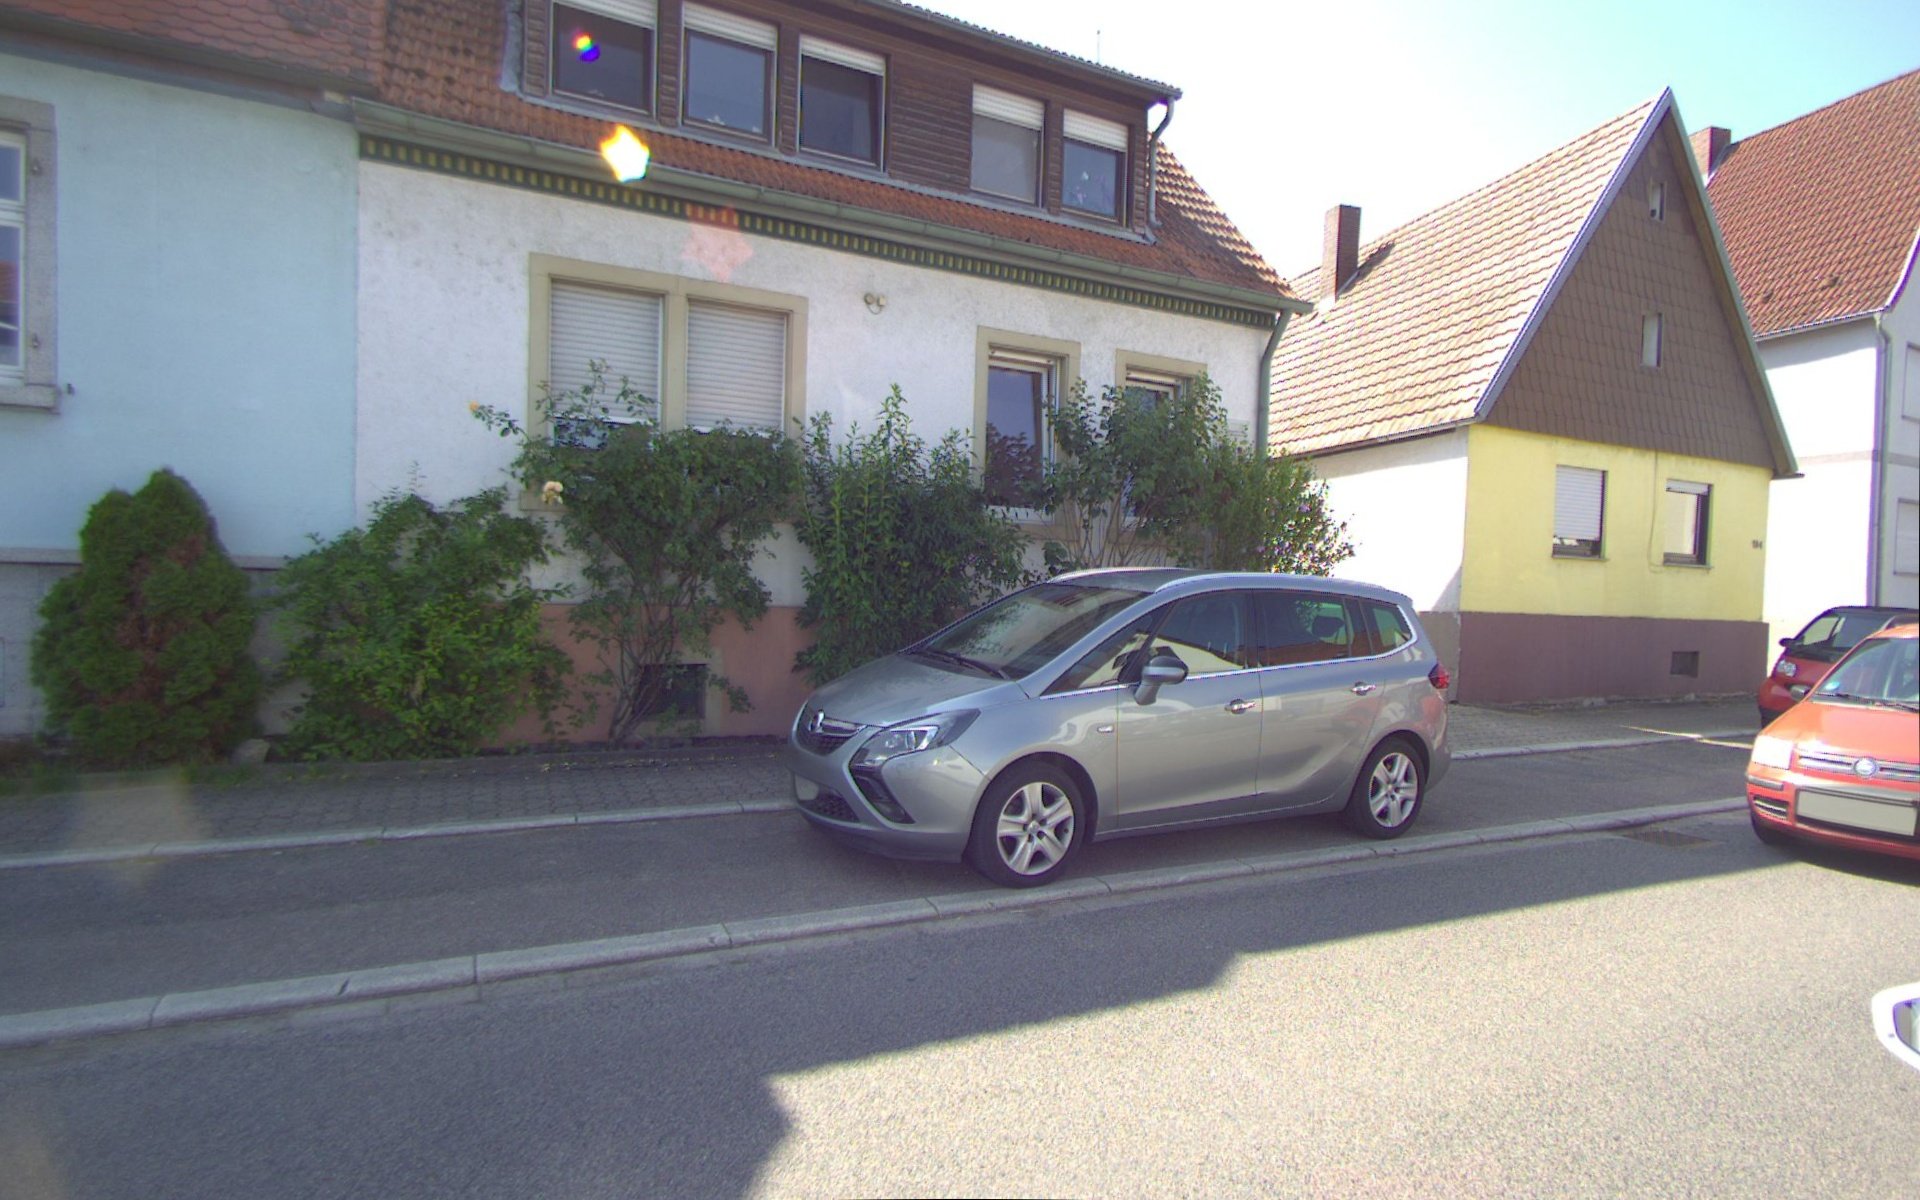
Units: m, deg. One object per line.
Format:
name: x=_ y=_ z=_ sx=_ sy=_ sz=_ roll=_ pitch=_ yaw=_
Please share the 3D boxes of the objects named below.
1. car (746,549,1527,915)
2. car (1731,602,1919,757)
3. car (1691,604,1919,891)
car: x=1.160 y=0.620 z=6.364 sx=4.601 sy=1.659 sz=1.867 roll=2 pitch=2 yaw=-25
car: x=10.863 y=0.873 z=11.920 sx=2.949 sy=1.565 sz=1.547 roll=2 pitch=2 yaw=-27
car: x=6.680 y=0.860 z=6.603 sx=3.581 sy=1.509 sz=1.594 roll=1 pitch=2 yaw=-29
